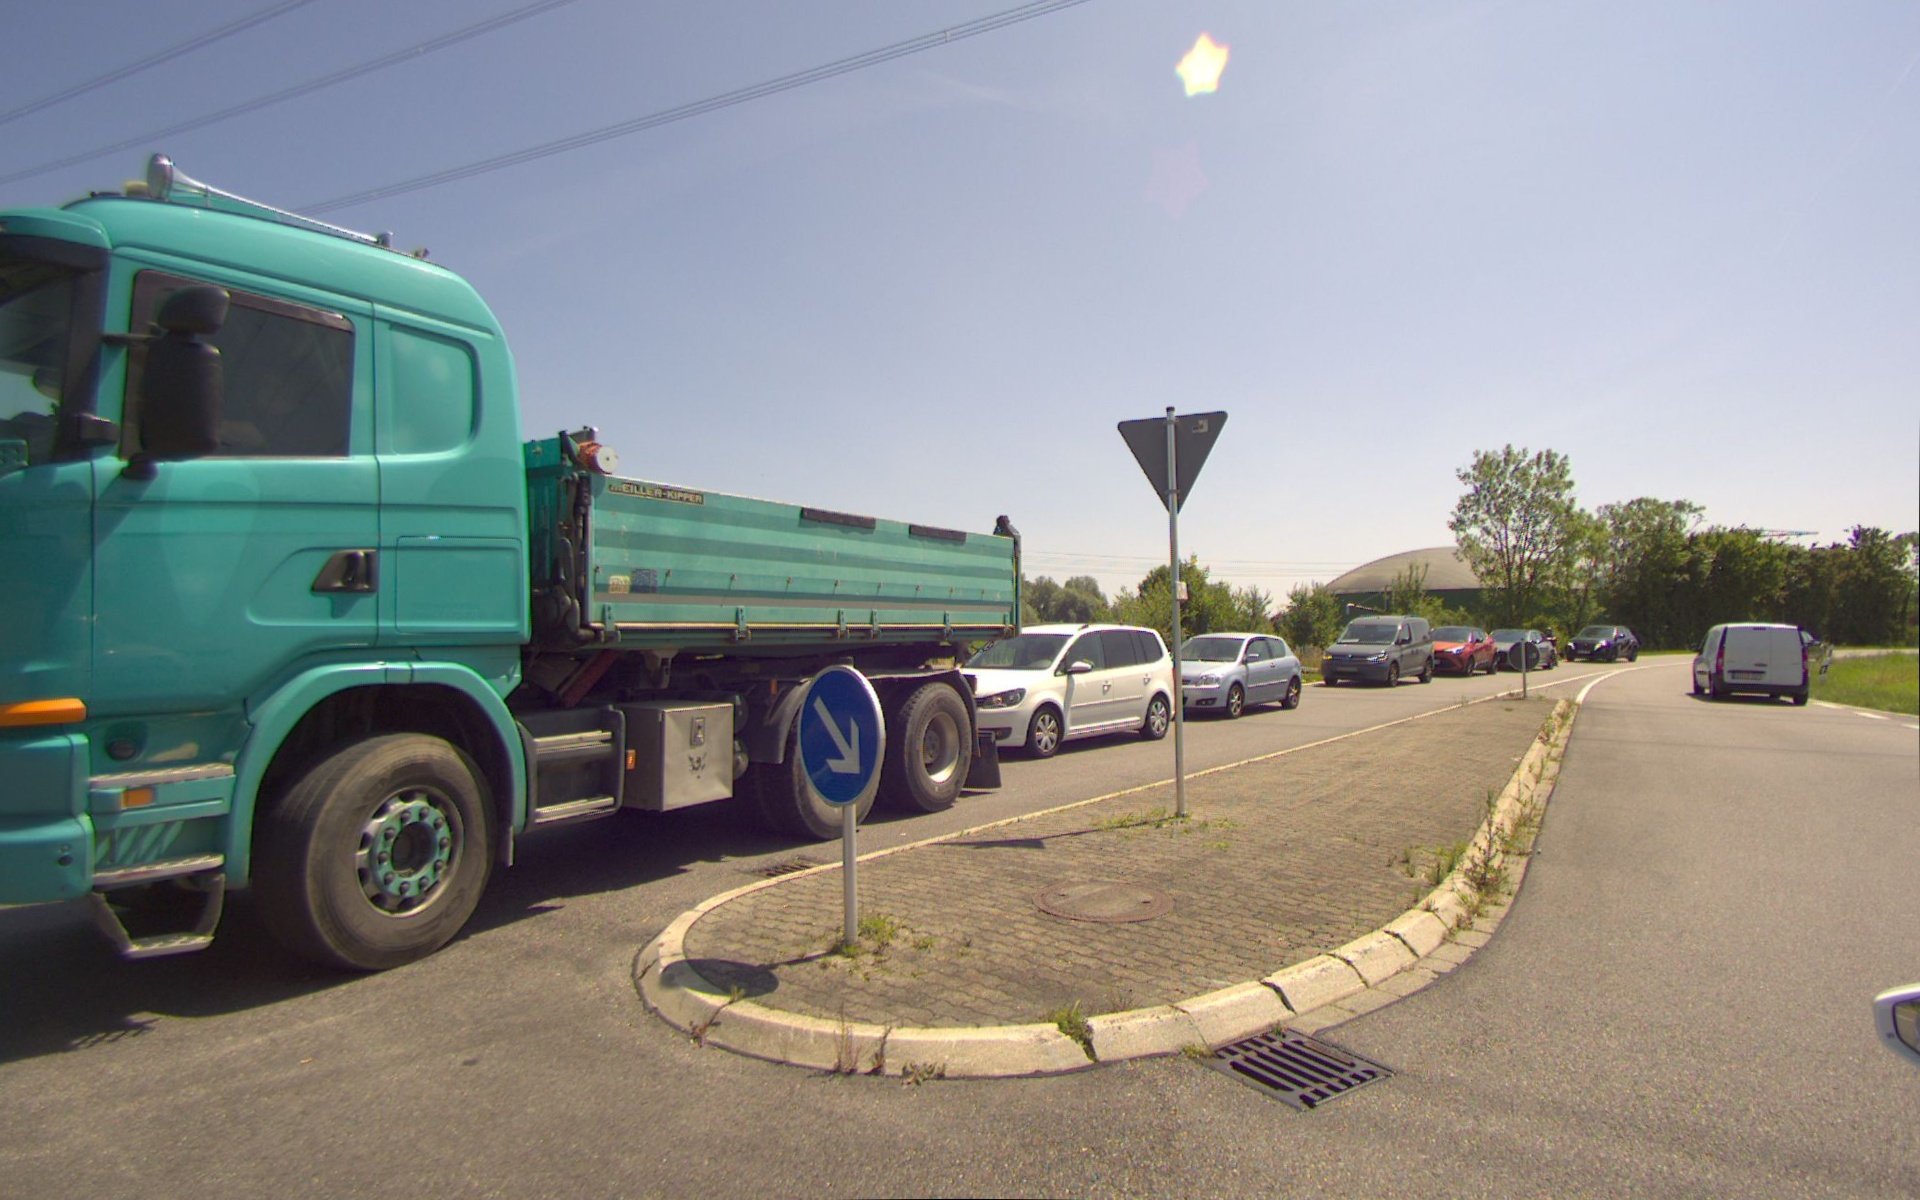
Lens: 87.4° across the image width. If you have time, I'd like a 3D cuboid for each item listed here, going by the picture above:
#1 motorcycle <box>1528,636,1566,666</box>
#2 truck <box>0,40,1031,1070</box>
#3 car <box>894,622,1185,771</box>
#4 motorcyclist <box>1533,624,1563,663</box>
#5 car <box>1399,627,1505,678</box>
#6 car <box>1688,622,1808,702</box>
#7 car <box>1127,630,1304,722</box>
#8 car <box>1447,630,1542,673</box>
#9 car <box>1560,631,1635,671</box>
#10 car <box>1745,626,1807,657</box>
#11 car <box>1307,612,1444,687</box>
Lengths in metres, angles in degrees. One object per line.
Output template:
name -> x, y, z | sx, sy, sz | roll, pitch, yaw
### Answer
motorcycle -> 23.704, 2.041, 40.545 | 0.773, 1.138, 2.415 | 1, -1, 44
truck -> -2.429, -0.046, 7.188 | 2.566, 3.517, 7.591 | -2, -2, 32
car -> 1.226, 1.133, 13.505 | 1.751, 1.642, 4.310 | 0, -1, 40
motorcyclist -> 23.751, 1.750, 40.558 | 0.773, 1.515, 1.124 | -1, -2, 44
car -> 15.905, 1.684, 32.355 | 1.780, 1.535, 4.365 | -2, -3, 44
car -> 18.670, 1.445, 23.965 | 1.878, 1.755, 3.812 | -2, -3, 33
car -> 4.797, 1.303, 18.493 | 1.613, 1.479, 3.989 | -1, -2, 40
car -> 19.806, 1.876, 37.122 | 1.822, 1.479, 4.779 | -1, -2, 44
car -> 28.640, 2.251, 45.107 | 4.215, 1.660, 1.687 | 1, 0, -40
car -> 39.194, 2.008, 48.247 | 3.716, 1.438, 1.704 | 2, -3, -41
car -> 11.295, 1.333, 27.160 | 1.907, 1.856, 4.411 | -2, -3, 44
